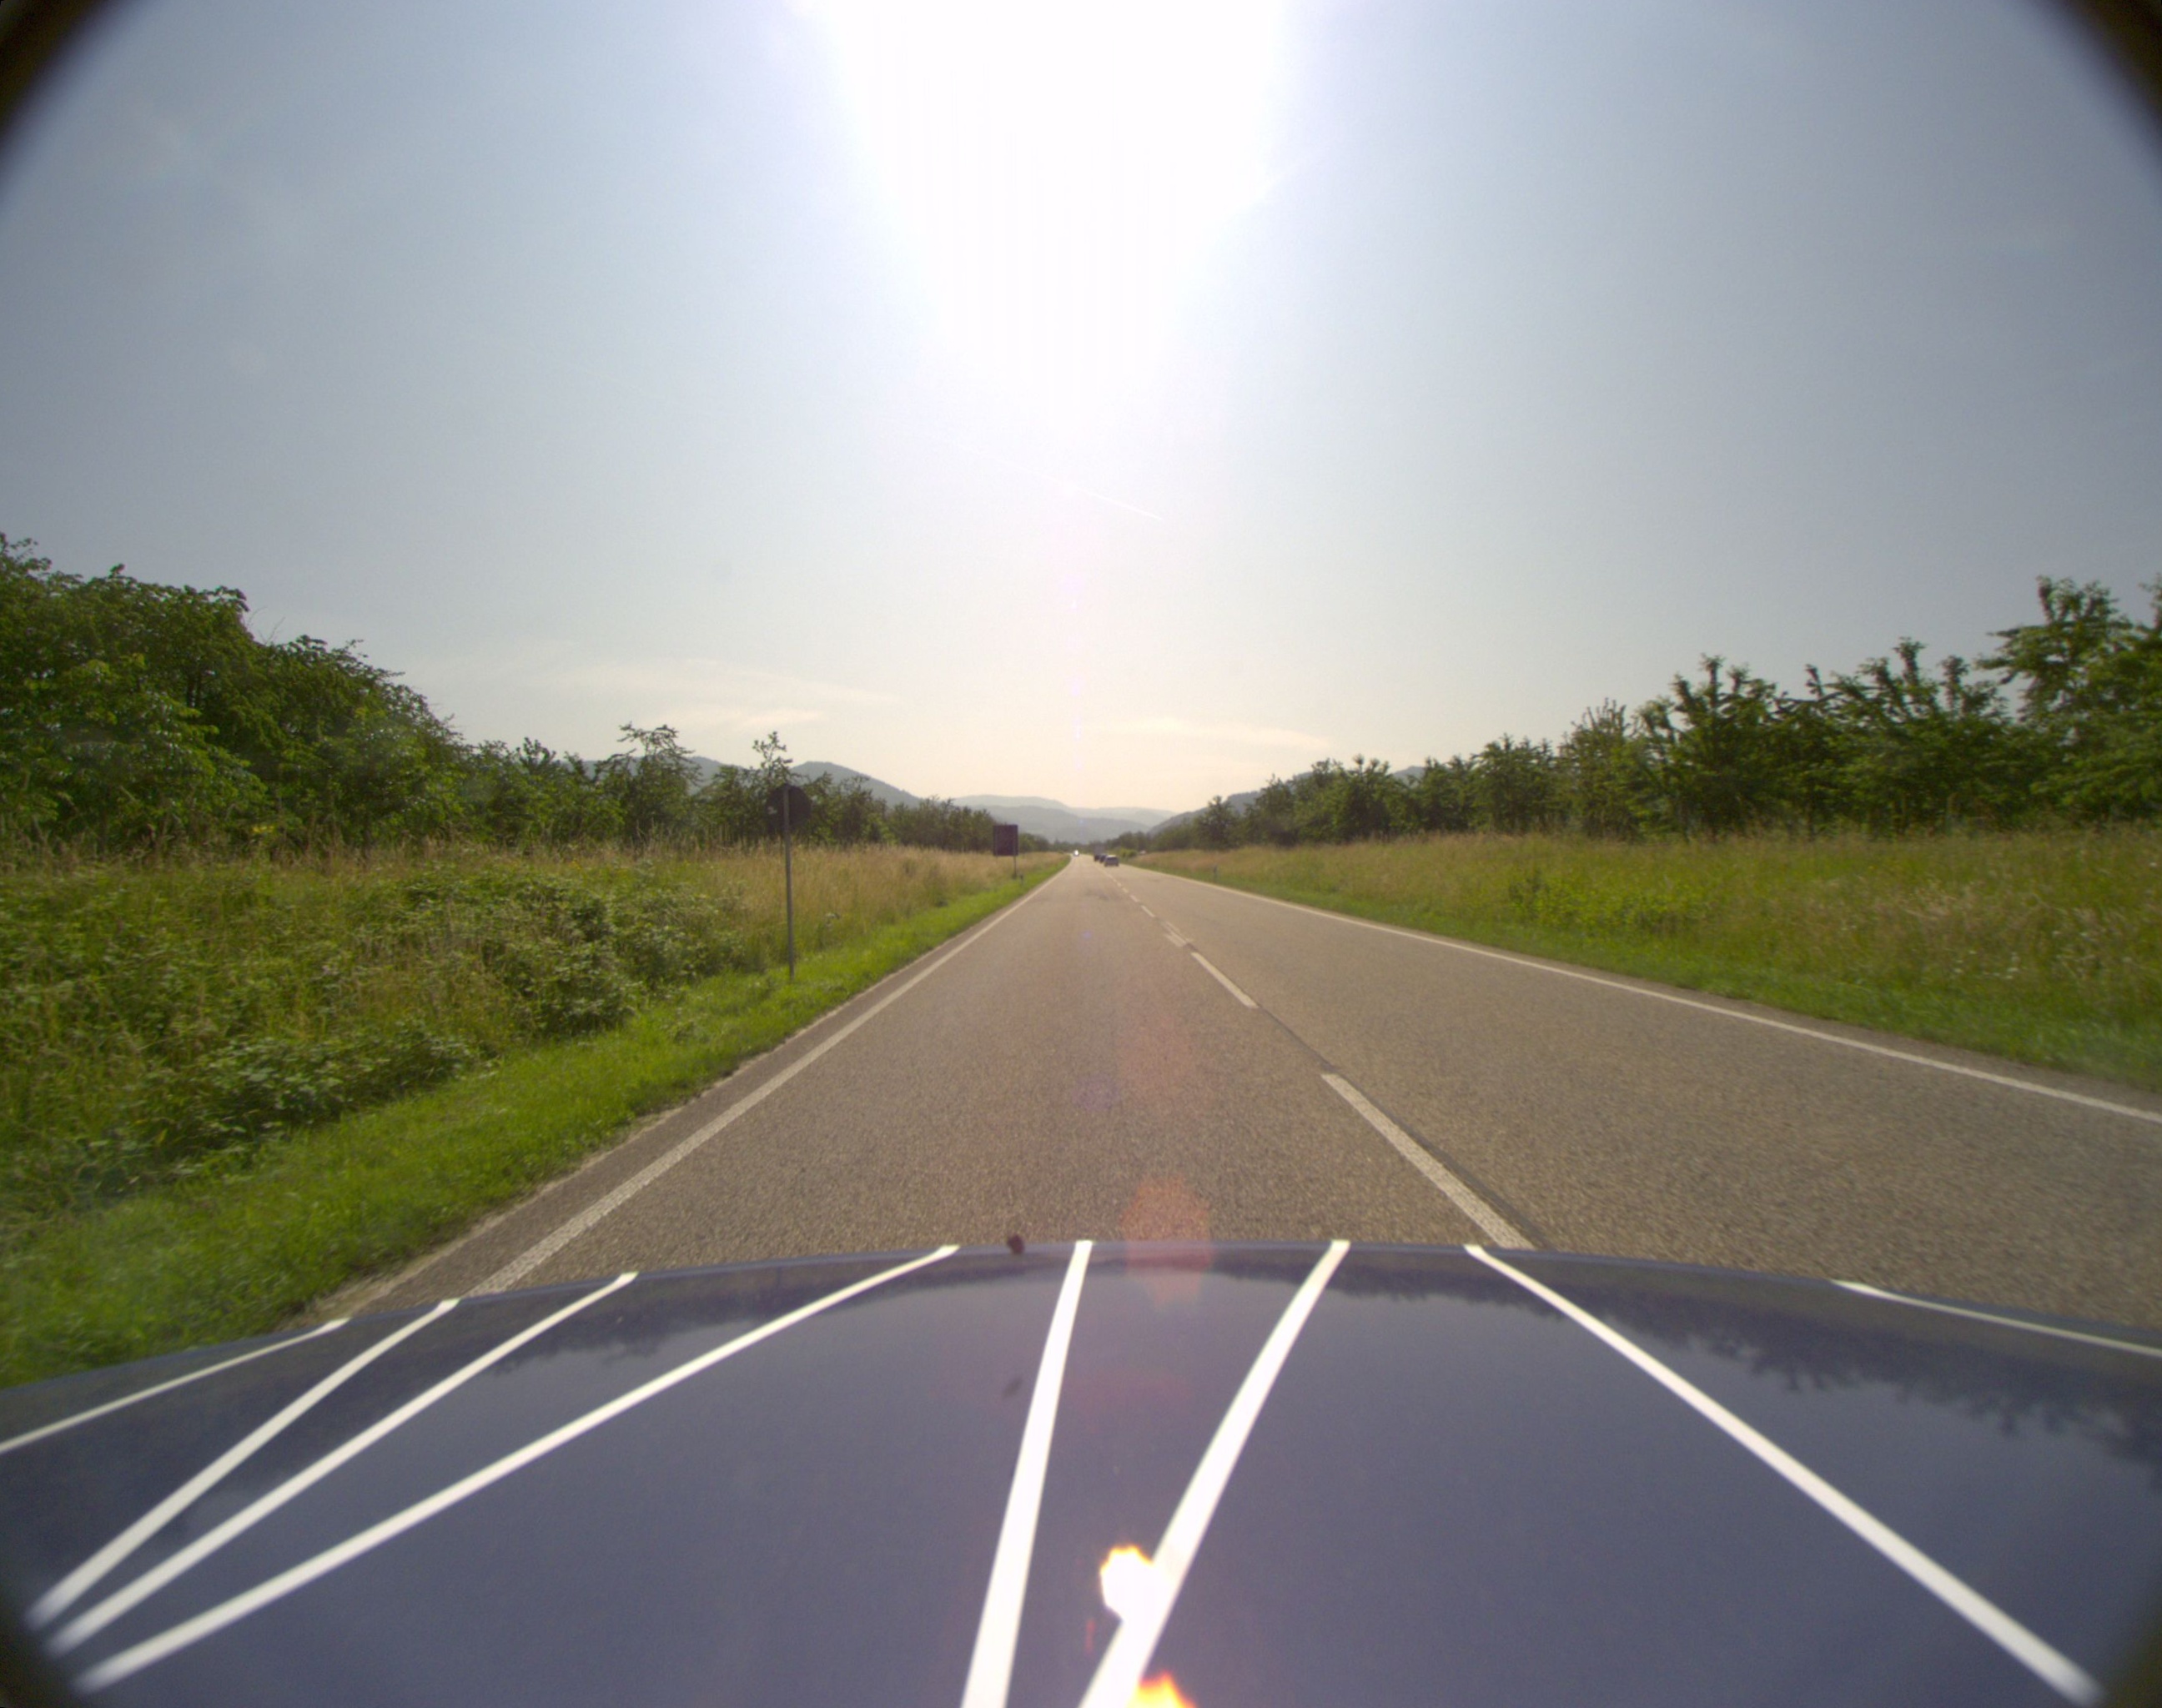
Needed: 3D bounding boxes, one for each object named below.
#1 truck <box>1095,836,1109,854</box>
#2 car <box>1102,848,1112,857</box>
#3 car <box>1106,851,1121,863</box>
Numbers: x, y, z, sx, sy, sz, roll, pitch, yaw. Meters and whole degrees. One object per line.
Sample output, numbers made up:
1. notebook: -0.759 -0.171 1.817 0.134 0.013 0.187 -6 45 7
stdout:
1. truck: 4.478 -1.951 166.201 2.671 3.816 10.207 -2 0 0
2. car: 4.593 -0.265 134.141 1.840 1.668 4.411 -2 0 2
3. car: 4.158 0.364 98.887 1.694 1.400 4.893 -2 0 0
